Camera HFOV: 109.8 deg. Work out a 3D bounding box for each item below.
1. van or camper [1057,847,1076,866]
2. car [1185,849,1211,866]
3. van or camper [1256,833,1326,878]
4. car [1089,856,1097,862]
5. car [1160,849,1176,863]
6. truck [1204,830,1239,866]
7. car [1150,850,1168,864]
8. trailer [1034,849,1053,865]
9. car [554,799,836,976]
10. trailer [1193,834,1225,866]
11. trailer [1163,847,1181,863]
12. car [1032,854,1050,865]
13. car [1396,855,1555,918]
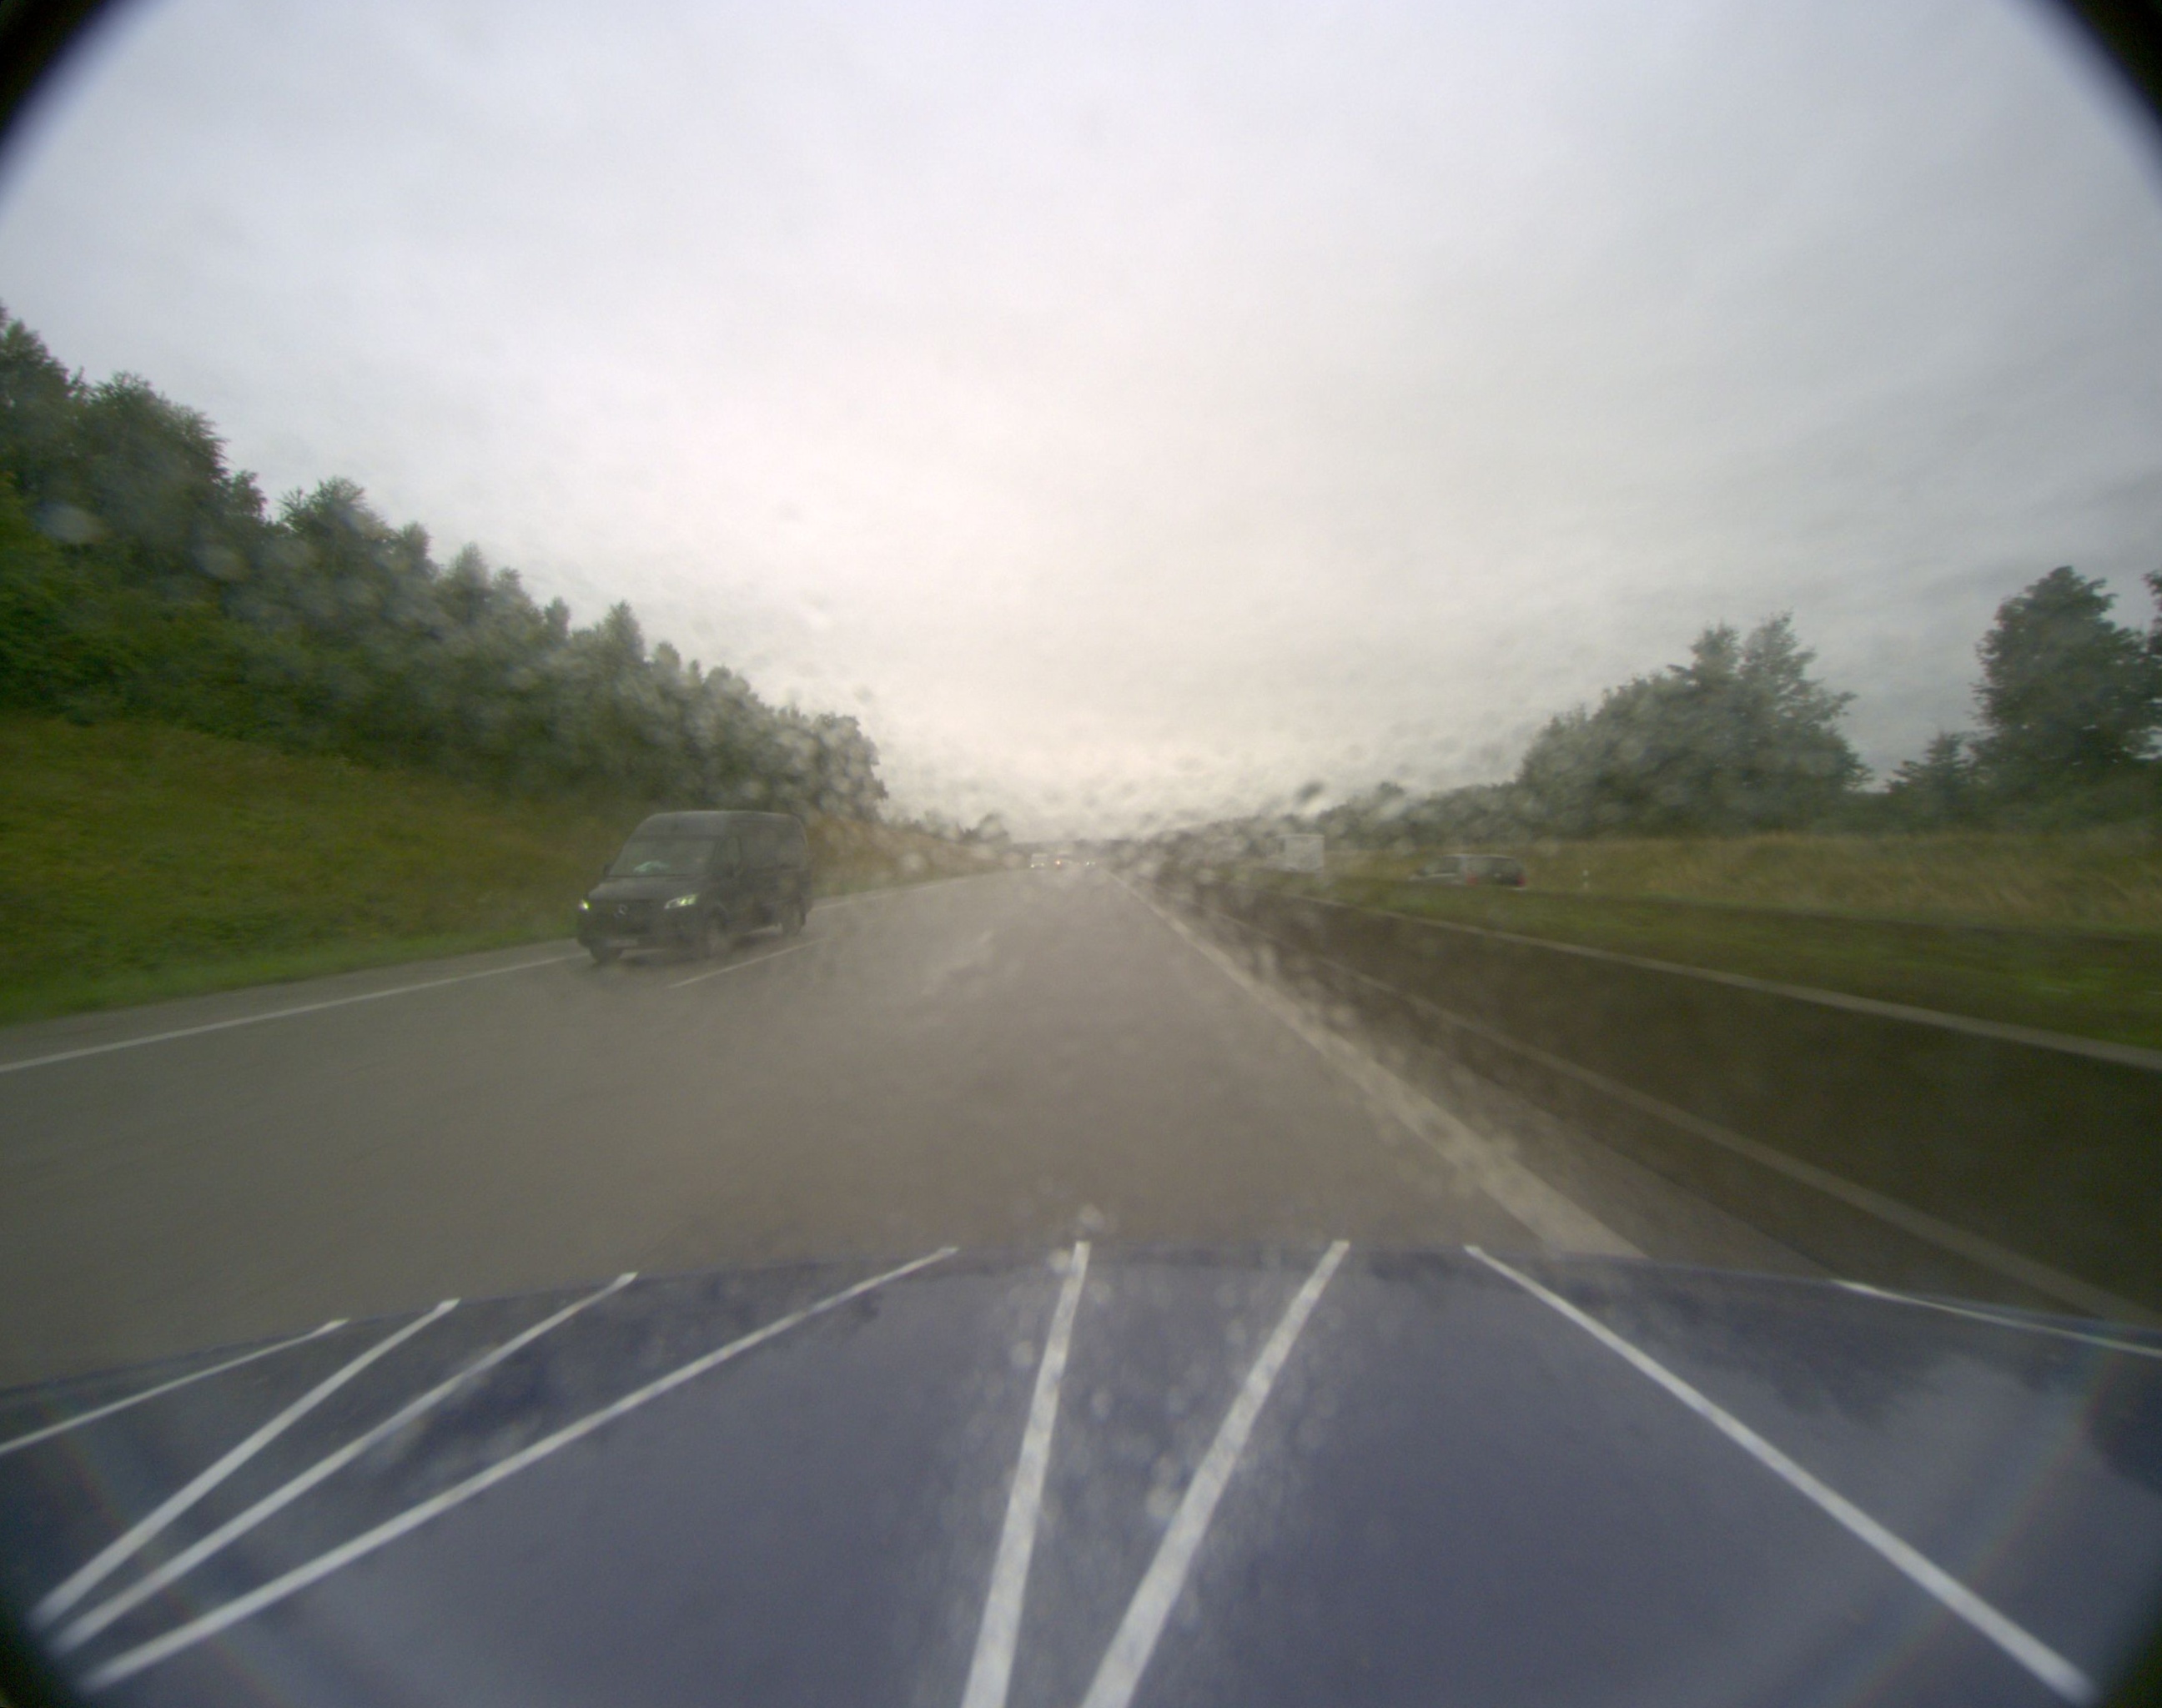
[{"bbox_3d":[-1.988,0.260,106.182,2.233,2.537,7.950,0,0,1],"label":"van or camper"},{"bbox_3d":[10.748,0.309,70.099,1.668,1.507,4.465,-1,0,0],"label":"car"},{"bbox_3d":[13.388,0.039,48.990,2.418,2.720,7.712,0,1,0],"label":"van or camper"},{"bbox_3d":[2.927,1.219,184.622,1.733,1.450,4.673,0,-1,0],"label":"car"},{"bbox_3d":[13.915,0.329,122.009,1.998,2.168,5.206,0,0,0],"label":"car"},{"bbox_3d":[17.140,-0.738,93.236,2.591,4.116,8.592,1,0,1],"label":"truck"},{"bbox_3d":[9.891,0.390,96.589,1.765,1.677,4.455,0,0,0],"label":"car"},{"bbox_3d":[-5.688,0.413,116.086,2.348,2.445,5.939,0,1,1],"label":"trailer"},{"bbox_3d":[-7.003,0.518,14.984,1.945,2.643,6.586,-2,0,1],"label":"car"},{"bbox_3d":[17.202,-0.446,102.763,2.593,4.023,10.375,1,0,0],"label":"trailer"},{"bbox_3d":[13.905,0.104,116.502,2.043,2.359,5.833,0,0,0],"label":"trailer"},{"bbox_3d":[-5.781,0.764,110.130,1.998,1.575,5.953,-2,0,1],"label":"car"},{"bbox_3d":[9.307,0.703,18.346,1.743,1.326,4.099,-1,0,0],"label":"car"}]
